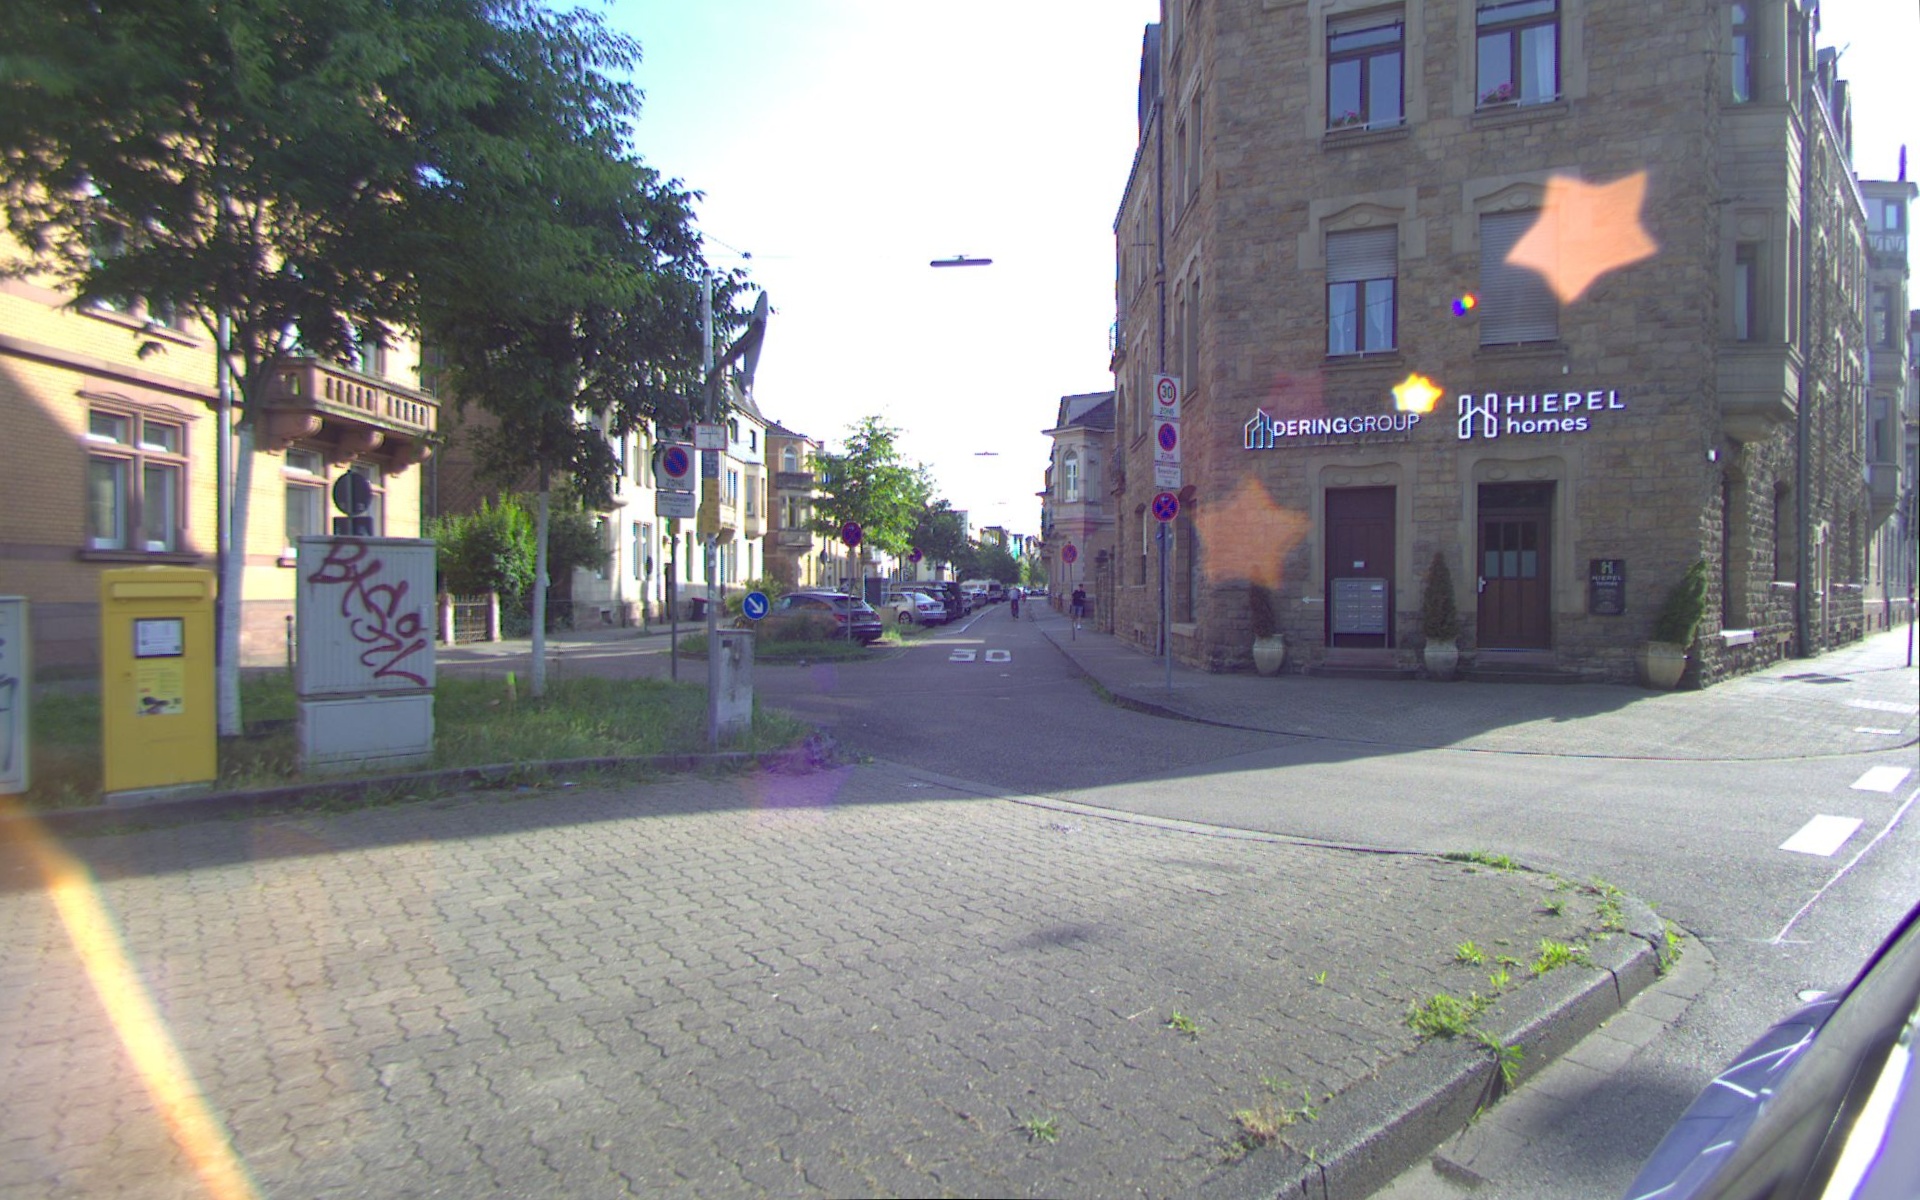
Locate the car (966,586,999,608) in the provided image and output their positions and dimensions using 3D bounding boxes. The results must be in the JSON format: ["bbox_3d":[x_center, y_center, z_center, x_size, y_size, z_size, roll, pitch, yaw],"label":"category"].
[{"bbox_3d":[1.807,-0.221,79.745,1.968,1.672,3.987,-1,0,11],"label":"car"}]

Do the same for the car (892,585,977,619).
[{"bbox_3d":[-1.311,0.095,52.191,3.954,1.672,1.985,-1,0,23],"label":"car"}]

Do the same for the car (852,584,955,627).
[{"bbox_3d":[-2.356,0.229,41.657,3.981,1.672,1.971,-1,0,40],"label":"car"}]

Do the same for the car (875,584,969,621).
[{"bbox_3d":[-1.785,0.108,47.716,3.954,1.672,1.985,-1,0,23],"label":"car"}]

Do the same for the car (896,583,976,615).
[{"bbox_3d":[-1.297,-0.036,55.110,3.954,1.672,1.985,-1,0,23],"label":"car"}]

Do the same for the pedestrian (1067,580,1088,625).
[{"bbox_3d":[4.514,0.085,38.949,0.750,1.696,0.782,-1,-1,6],"label":"pedestrian"}]

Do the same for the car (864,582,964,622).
[{"bbox_3d":[-2.009,0.095,44.577,3.954,1.672,1.985,-1,0,23],"label":"car"}]

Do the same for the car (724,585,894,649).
[{"bbox_3d":[-4.014,0.431,26.556,4.430,1.533,1.972,-1,0,39],"label":"car"}]

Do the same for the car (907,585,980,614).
[{"bbox_3d":[-0.995,-0.032,61.364,3.954,1.672,1.985,-1,0,23],"label":"car"}]

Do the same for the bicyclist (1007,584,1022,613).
[{"bbox_3d":[2.844,-0.064,52.440,0.731,1.474,0.653,-1,-1,5],"label":"bicyclist"}]

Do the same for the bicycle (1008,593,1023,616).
[{"bbox_3d":[2.866,0.234,52.392,0.682,1.171,2.476,-1,0,5],"label":"bicycle"}]
